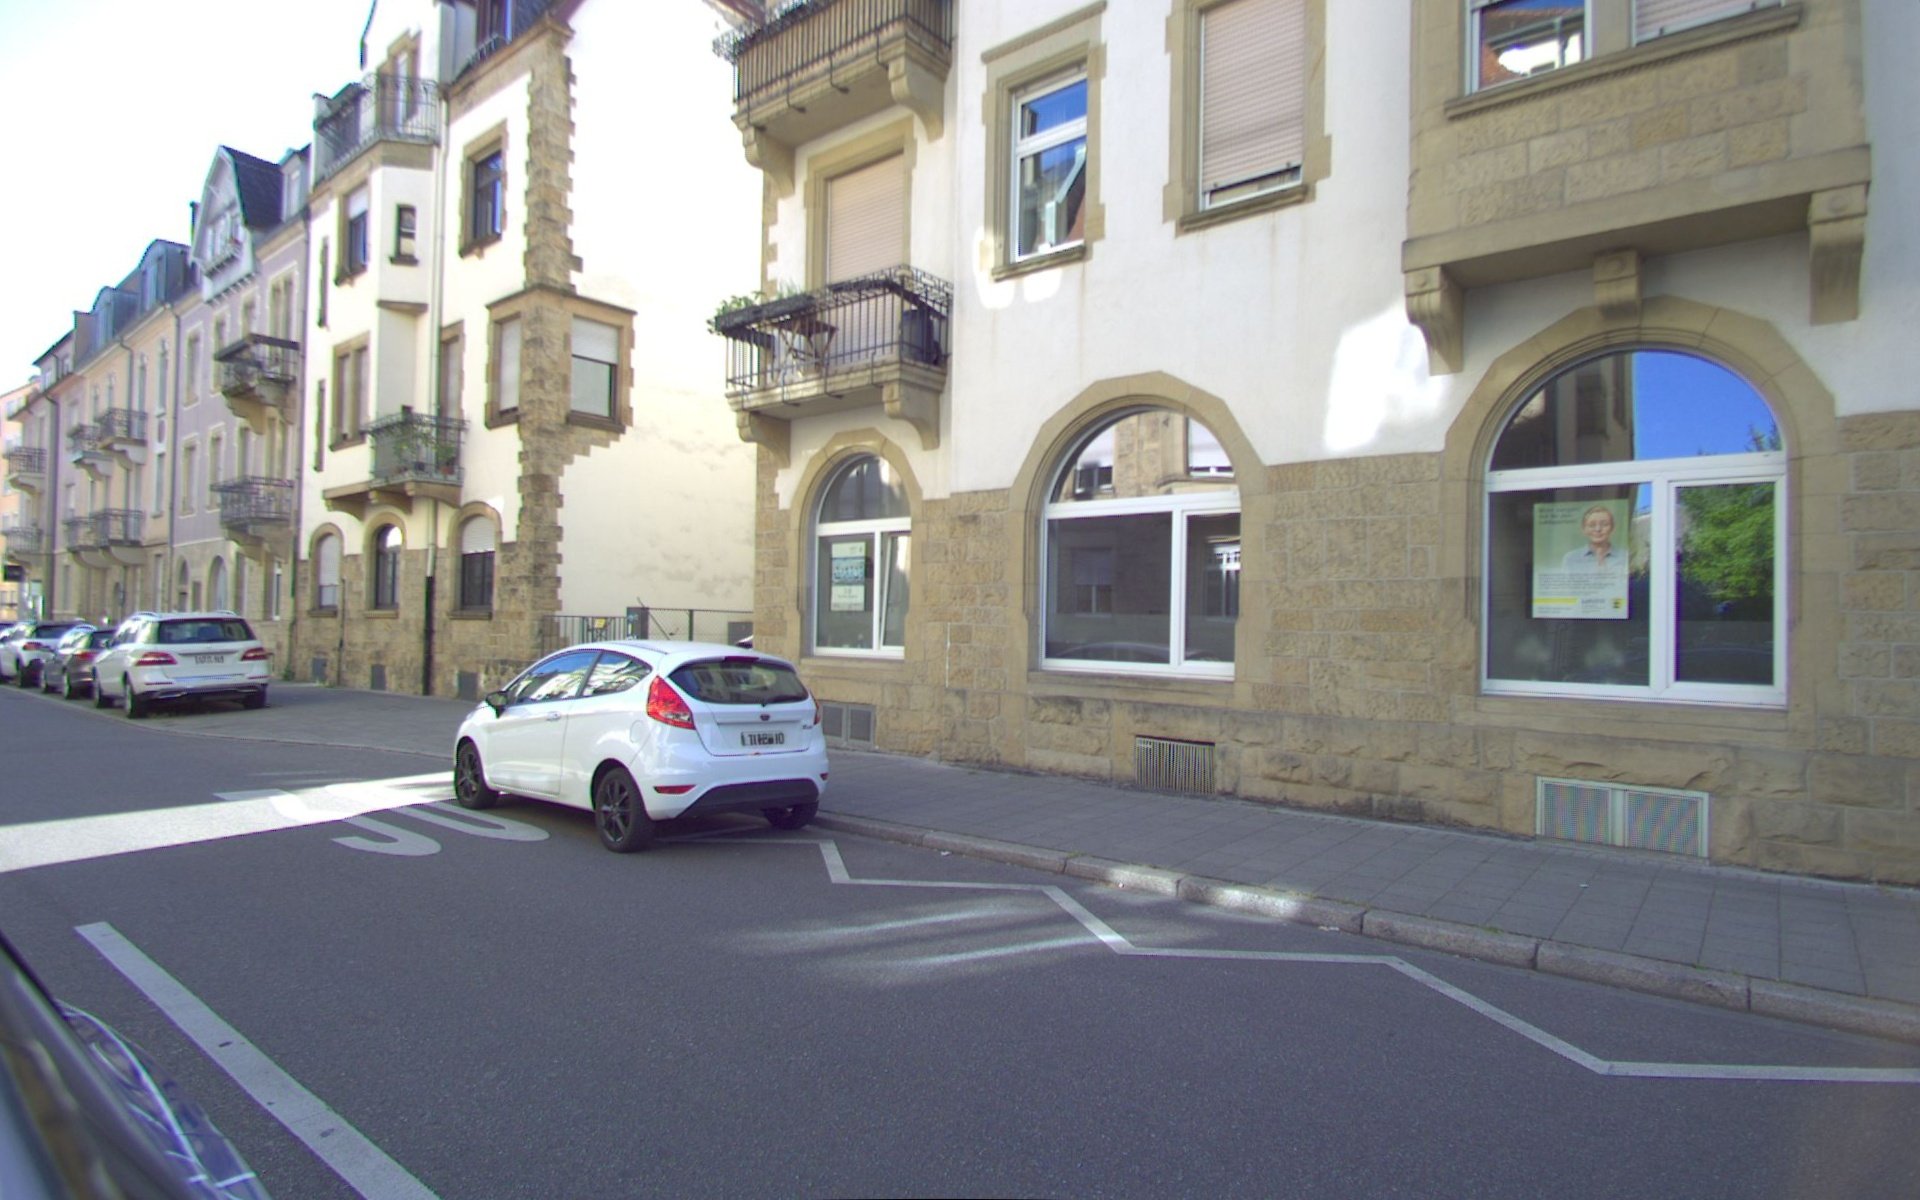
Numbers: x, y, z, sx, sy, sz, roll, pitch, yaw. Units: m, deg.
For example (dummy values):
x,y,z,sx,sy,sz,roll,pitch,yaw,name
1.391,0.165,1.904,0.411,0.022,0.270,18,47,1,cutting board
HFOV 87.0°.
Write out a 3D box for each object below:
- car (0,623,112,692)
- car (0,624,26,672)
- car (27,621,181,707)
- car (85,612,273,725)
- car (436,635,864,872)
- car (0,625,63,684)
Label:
x,y,z,sx,sy,sz,roll,pitch,yaw,name
-22.950,1.382,25.432,4.319,1.520,1.866,-1,0,41,car
-33.142,1.605,34.220,4.319,1.520,1.866,-1,0,41,car
-18.446,1.289,21.751,4.319,1.519,1.866,-1,2,41,car
-13.946,1.098,17.989,4.209,1.740,1.866,-1,0,41,car
-2.620,1.045,8.158,3.642,1.469,1.634,-2,-5,42,car
-27.158,1.515,28.872,4.317,1.511,1.833,-1,0,41,car
